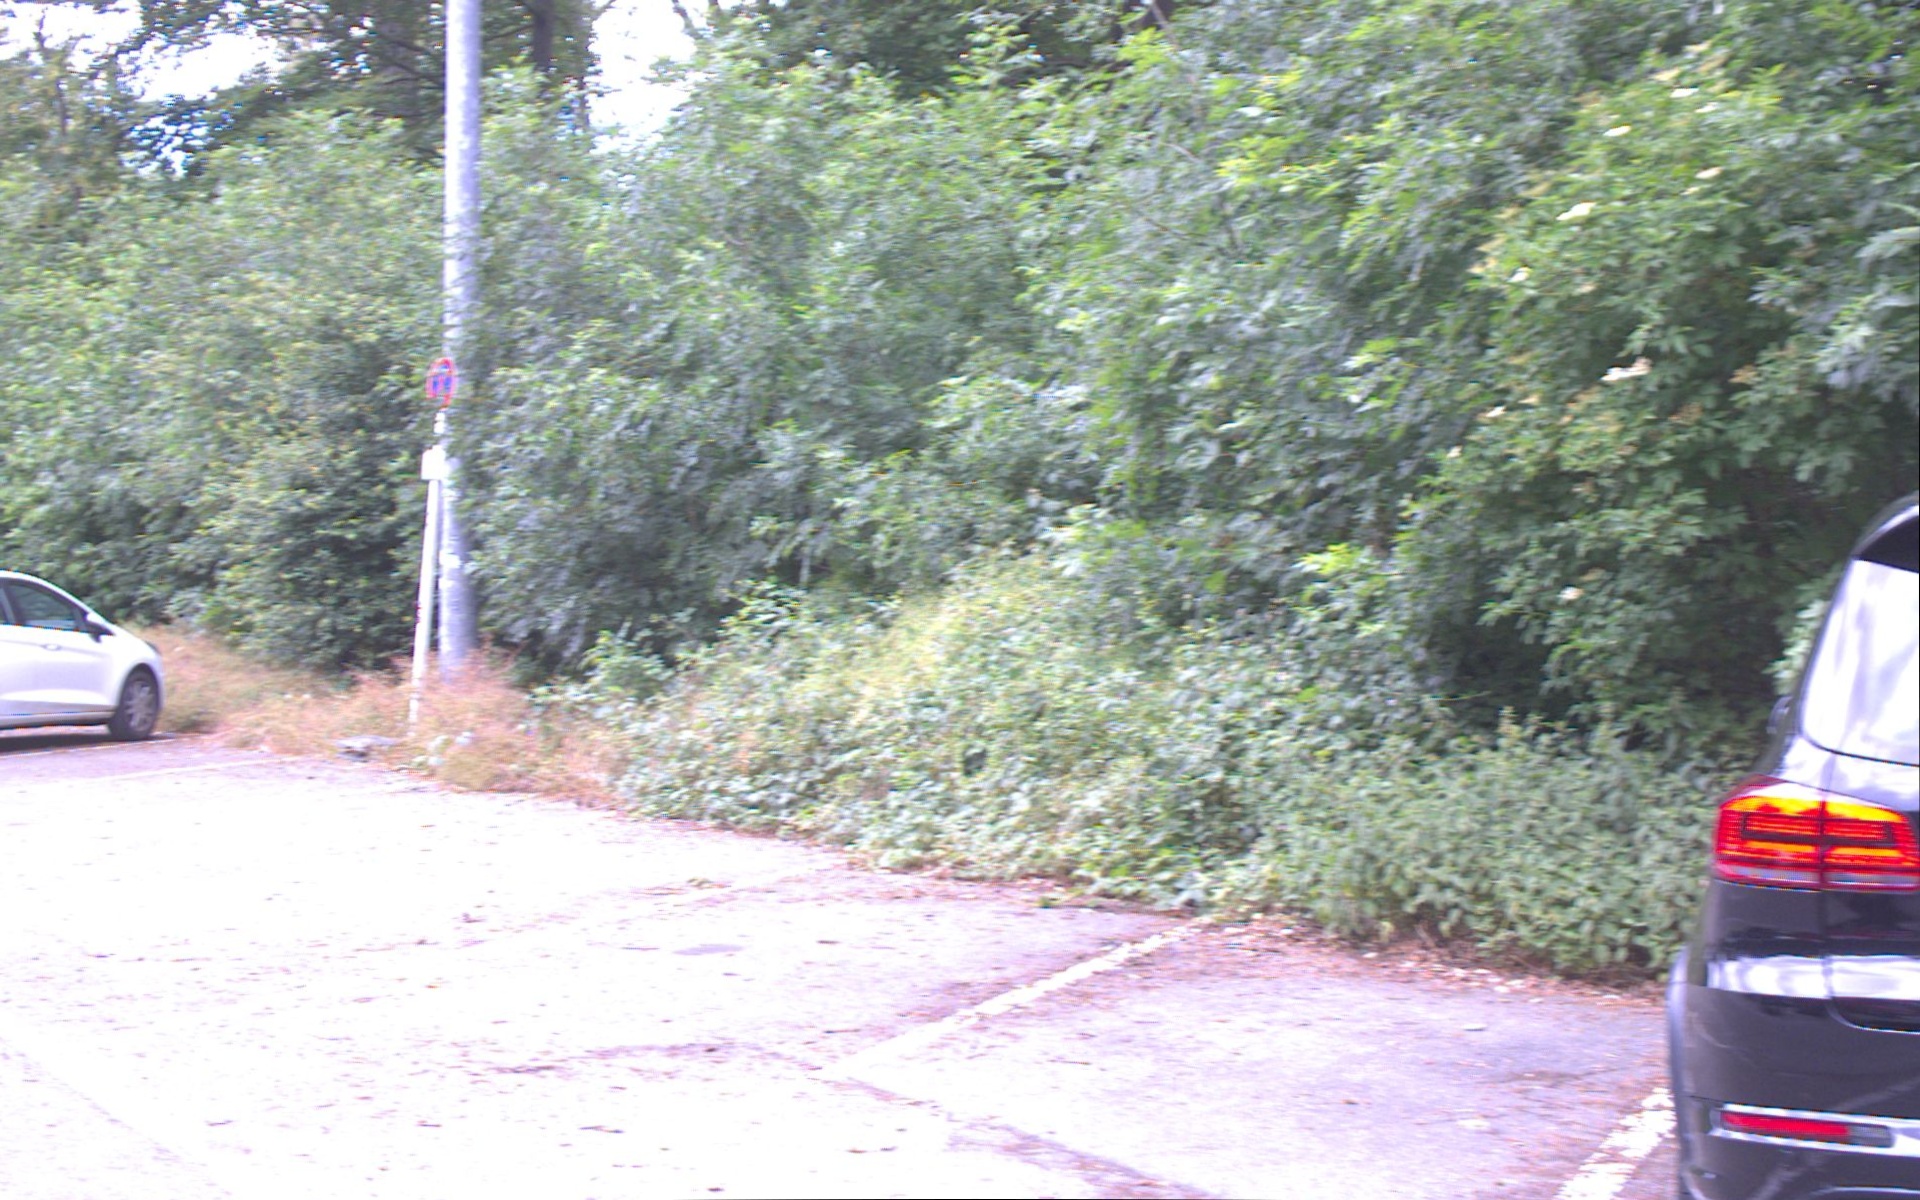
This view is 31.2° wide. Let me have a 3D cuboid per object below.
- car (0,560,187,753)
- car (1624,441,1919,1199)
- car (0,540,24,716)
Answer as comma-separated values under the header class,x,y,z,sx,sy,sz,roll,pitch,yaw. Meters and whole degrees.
class,x,y,z,sx,sy,sz,roll,pitch,yaw
car,-8.138,0.435,27.767,1.865,1.505,3.996,0,0,19
car,2.593,0.571,7.103,1.780,1.679,4.067,0,1,20
car,-11.221,0.290,32.849,2.107,1.761,4.704,0,0,19
